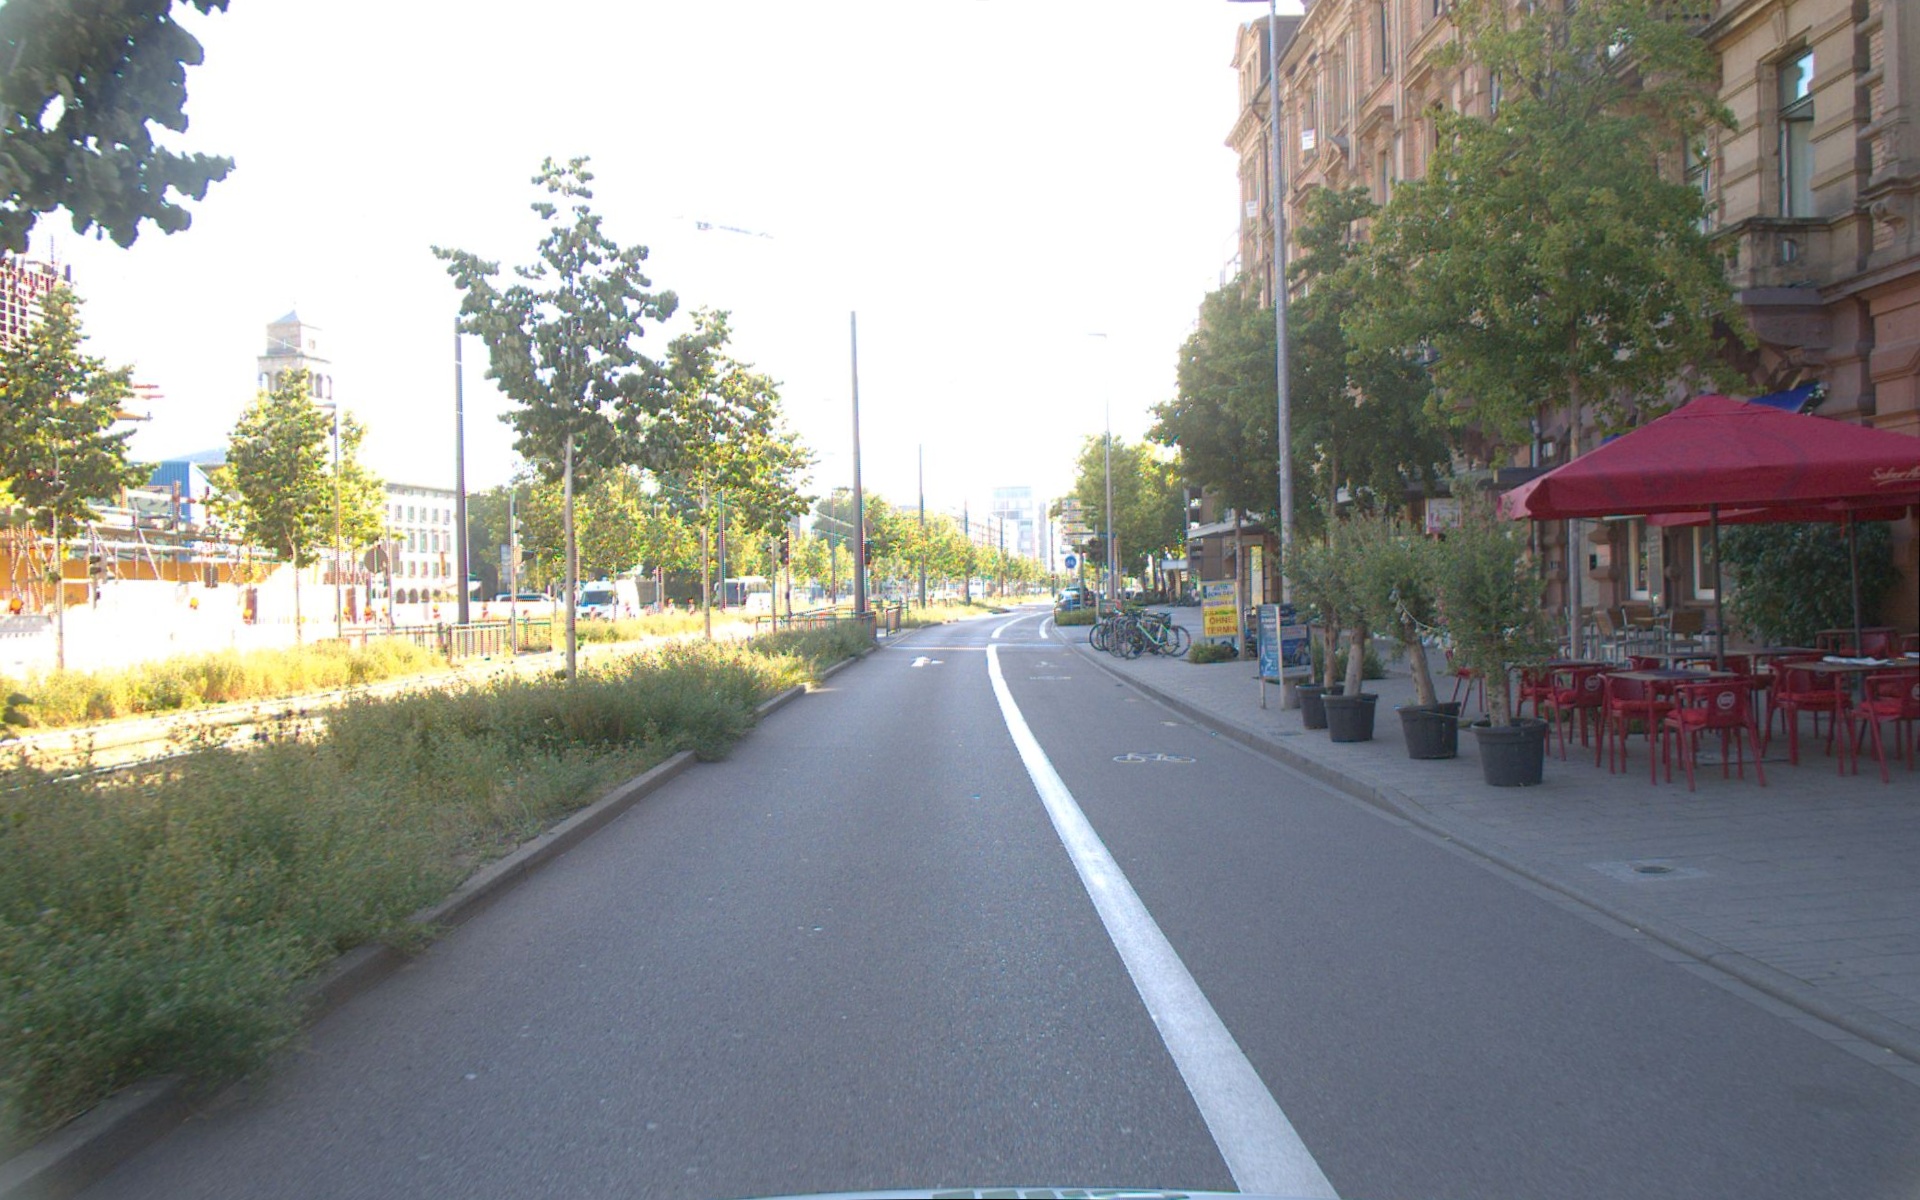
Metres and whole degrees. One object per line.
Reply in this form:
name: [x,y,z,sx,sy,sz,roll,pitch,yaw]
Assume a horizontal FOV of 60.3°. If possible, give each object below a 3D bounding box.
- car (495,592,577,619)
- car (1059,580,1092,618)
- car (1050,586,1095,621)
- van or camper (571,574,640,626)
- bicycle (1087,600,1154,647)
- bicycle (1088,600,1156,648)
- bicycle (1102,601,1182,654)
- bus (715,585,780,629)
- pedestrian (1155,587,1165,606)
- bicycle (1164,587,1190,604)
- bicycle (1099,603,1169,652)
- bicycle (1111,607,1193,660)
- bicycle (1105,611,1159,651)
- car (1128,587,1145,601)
car: [-29.996,0.392,117.081,5.116,1.747,2.126,-1,0,5]
car: [6.445,-0.072,92.790,1.698,1.952,4.395,-3,0,3]
car: [5.761,0.180,85.289,1.892,1.626,4.699,-3,0,0]
van or camper: [-19.109,-0.051,89.614,2.177,2.553,7.199,-3,1,-1]
bicycle: [4.265,0.632,43.992,1.717,1.123,0.507,-4,0,5]
bicycle: [4.247,0.626,43.401,1.717,1.123,0.507,-4,0,5]
bicycle: [4.286,0.650,39.023,1.806,1.123,0.566,-4,0,5]
bus: [-18.642,0.552,146.012,2.739,3.657,12.707,-1,0,6]
pedestrian: [17.915,-0.351,148.063,0.772,1.677,1.137,-2,0,6]
bicycle: [16.157,-0.339,122.994,1.860,1.112,0.392,-3,0,0]
bicycle: [4.426,0.692,42.120,1.685,1.123,0.507,-4,0,5]
bicycle: [4.342,0.749,37.512,1.767,1.065,0.566,-4,0,5]
bicycle: [4.229,0.757,40.674,1.248,0.892,0.507,-4,0,5]
car: [19.819,-0.706,185.457,1.670,1.443,4.280,-4,0,9]
